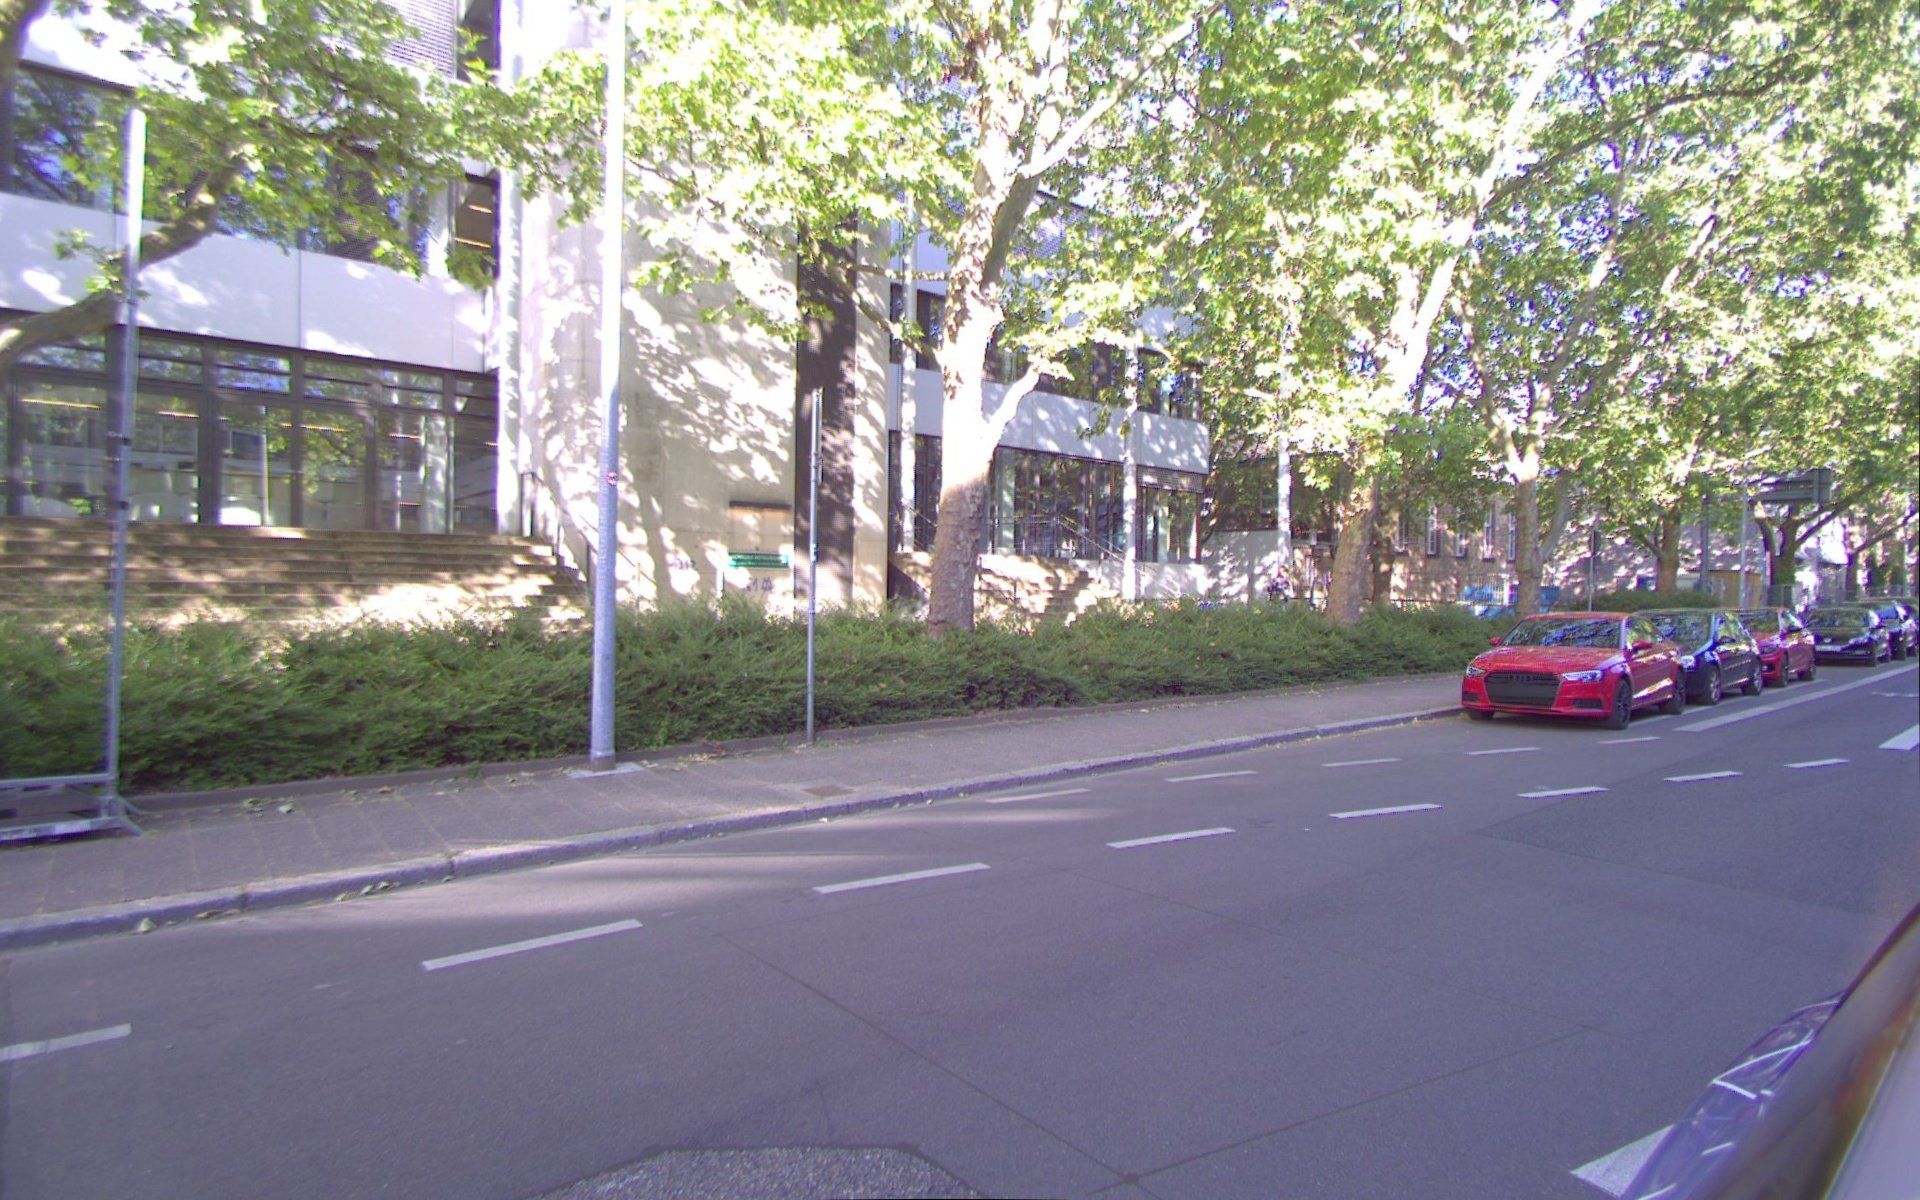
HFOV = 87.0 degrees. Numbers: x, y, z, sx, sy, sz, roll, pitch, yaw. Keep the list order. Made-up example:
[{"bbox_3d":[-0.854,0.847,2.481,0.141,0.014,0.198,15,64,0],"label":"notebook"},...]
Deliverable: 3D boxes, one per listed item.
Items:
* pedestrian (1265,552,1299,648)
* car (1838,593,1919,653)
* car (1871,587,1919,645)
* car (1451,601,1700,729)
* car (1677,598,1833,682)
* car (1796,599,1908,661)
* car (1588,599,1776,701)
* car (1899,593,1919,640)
[{"bbox_3d":[6.973,0.003,21.927,0.549,2.039,0.555,0,0,38],"label":"pedestrian"},{"bbox_3d":[26.637,0.605,29.053,4.158,1.598,1.632,-1,0,-41],"label":"car"},{"bbox_3d":[31.175,0.475,33.022,4.497,1.814,1.632,-1,0,-41],"label":"car"},{"bbox_3d":[8.305,0.737,13.524,3.931,1.409,1.792,-1,0,-42],"label":"car"},{"bbox_3d":[15.747,0.709,19.981,3.854,1.467,1.691,-1,0,-40],"label":"car"},{"bbox_3d":[22.952,0.713,25.996,3.855,1.441,1.691,-1,0,-41],"label":"car"},{"bbox_3d":[11.859,0.730,16.554,3.632,1.436,1.668,-1,0,-40],"label":"car"},{"bbox_3d":[35.539,0.574,36.793,4.497,1.633,1.632,-1,0,-41],"label":"car"}]
